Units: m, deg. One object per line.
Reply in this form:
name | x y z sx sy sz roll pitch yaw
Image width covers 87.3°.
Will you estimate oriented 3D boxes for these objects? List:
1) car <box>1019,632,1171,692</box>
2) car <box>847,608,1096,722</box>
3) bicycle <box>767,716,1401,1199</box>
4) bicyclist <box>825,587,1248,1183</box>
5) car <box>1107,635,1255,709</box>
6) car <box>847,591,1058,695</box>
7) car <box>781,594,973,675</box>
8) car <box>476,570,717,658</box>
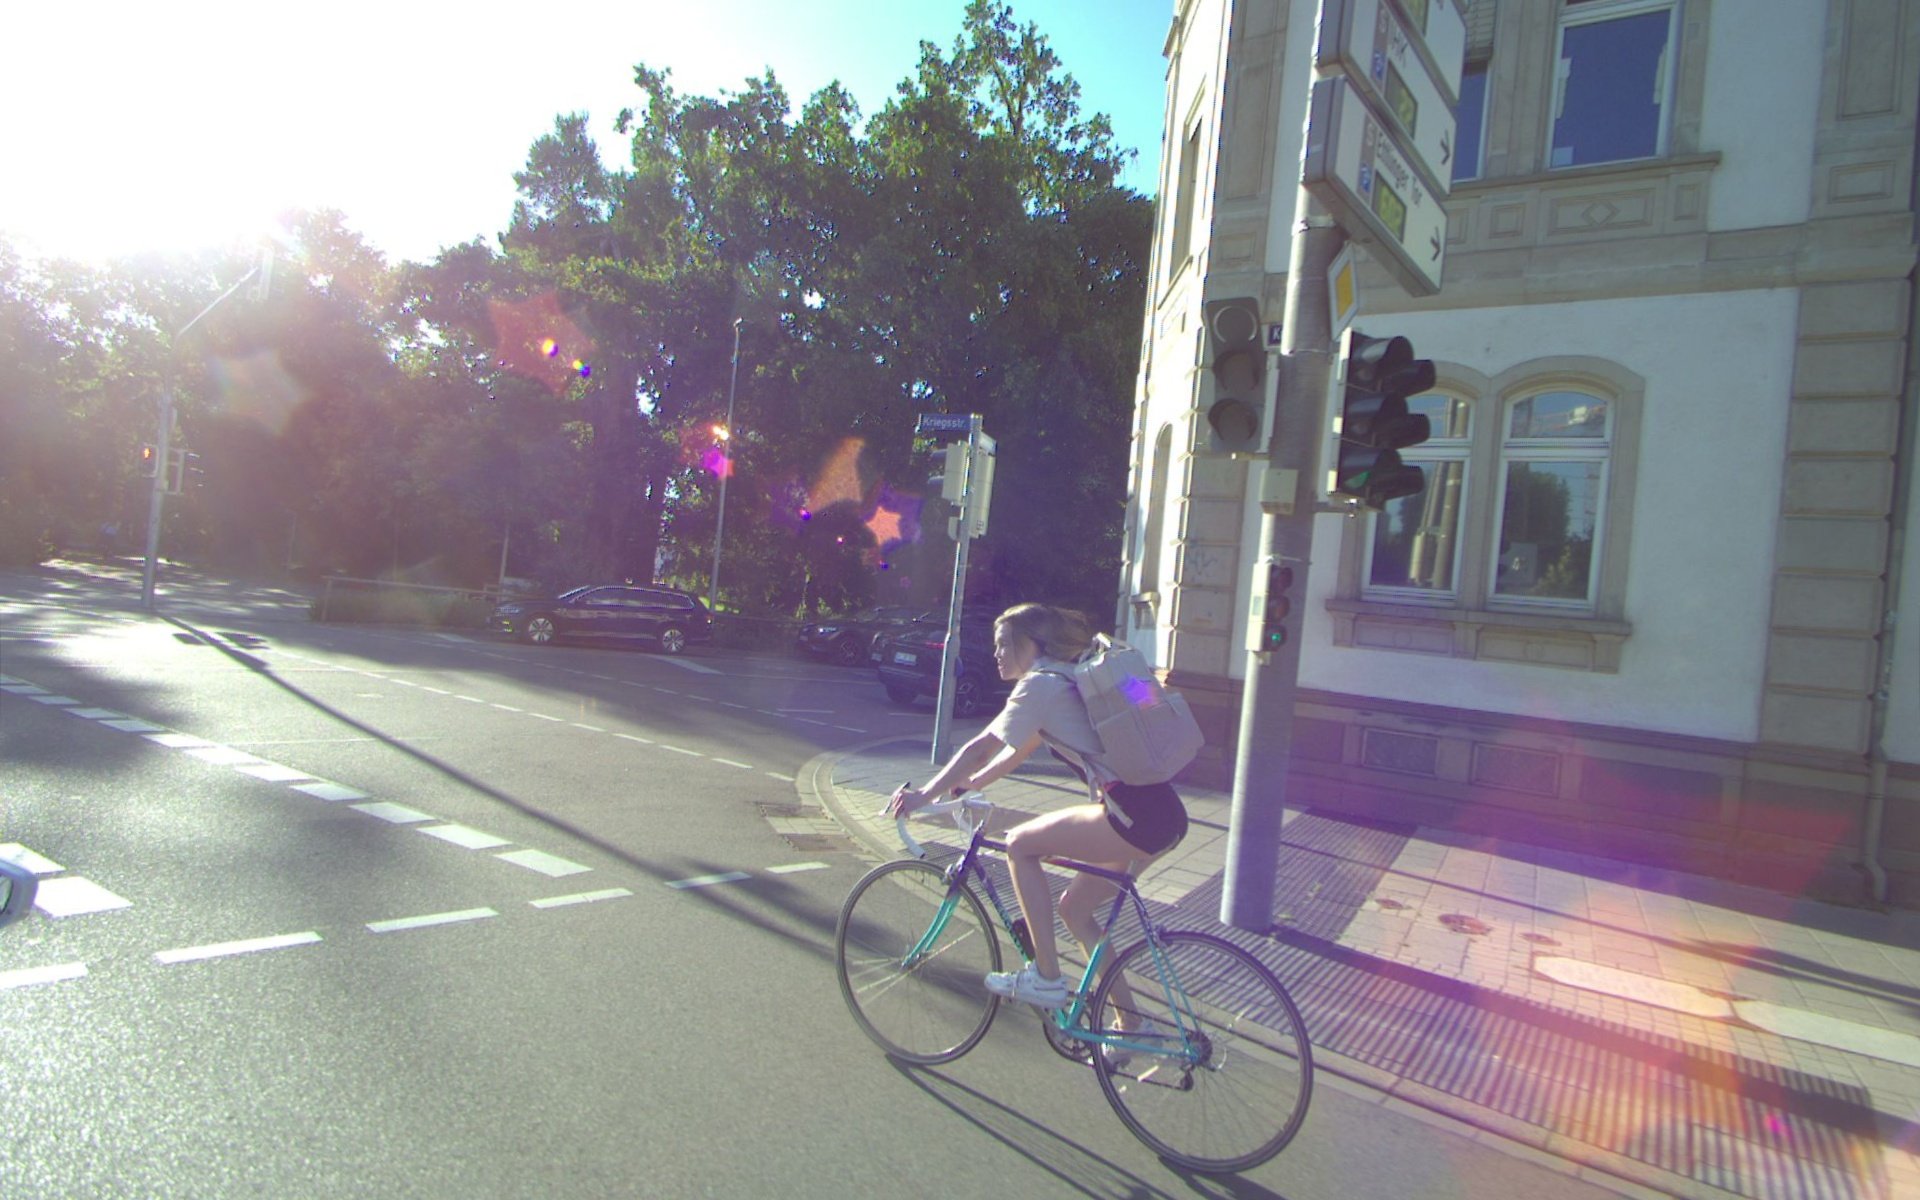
car | 4.024 1.850 29.708 4.194 1.398 1.887 6 -2 -35
car | 0.282 1.164 17.514 4.032 1.546 1.881 8 -1 -42
bicycle | 0.308 1.045 3.131 1.812 1.111 0.521 5 0 31
bicyclist | 0.234 0.771 3.175 1.063 1.509 0.553 6 0 31
car | 5.763 1.877 26.153 3.495 1.530 1.722 6 1 -35
car | -0.128 0.976 22.368 4.207 1.827 1.931 6 1 -35
car | -2.115 0.906 25.981 4.487 1.672 1.889 6 -2 -31
car | -7.888 0.331 21.979 4.557 1.491 1.887 6 -2 -35
